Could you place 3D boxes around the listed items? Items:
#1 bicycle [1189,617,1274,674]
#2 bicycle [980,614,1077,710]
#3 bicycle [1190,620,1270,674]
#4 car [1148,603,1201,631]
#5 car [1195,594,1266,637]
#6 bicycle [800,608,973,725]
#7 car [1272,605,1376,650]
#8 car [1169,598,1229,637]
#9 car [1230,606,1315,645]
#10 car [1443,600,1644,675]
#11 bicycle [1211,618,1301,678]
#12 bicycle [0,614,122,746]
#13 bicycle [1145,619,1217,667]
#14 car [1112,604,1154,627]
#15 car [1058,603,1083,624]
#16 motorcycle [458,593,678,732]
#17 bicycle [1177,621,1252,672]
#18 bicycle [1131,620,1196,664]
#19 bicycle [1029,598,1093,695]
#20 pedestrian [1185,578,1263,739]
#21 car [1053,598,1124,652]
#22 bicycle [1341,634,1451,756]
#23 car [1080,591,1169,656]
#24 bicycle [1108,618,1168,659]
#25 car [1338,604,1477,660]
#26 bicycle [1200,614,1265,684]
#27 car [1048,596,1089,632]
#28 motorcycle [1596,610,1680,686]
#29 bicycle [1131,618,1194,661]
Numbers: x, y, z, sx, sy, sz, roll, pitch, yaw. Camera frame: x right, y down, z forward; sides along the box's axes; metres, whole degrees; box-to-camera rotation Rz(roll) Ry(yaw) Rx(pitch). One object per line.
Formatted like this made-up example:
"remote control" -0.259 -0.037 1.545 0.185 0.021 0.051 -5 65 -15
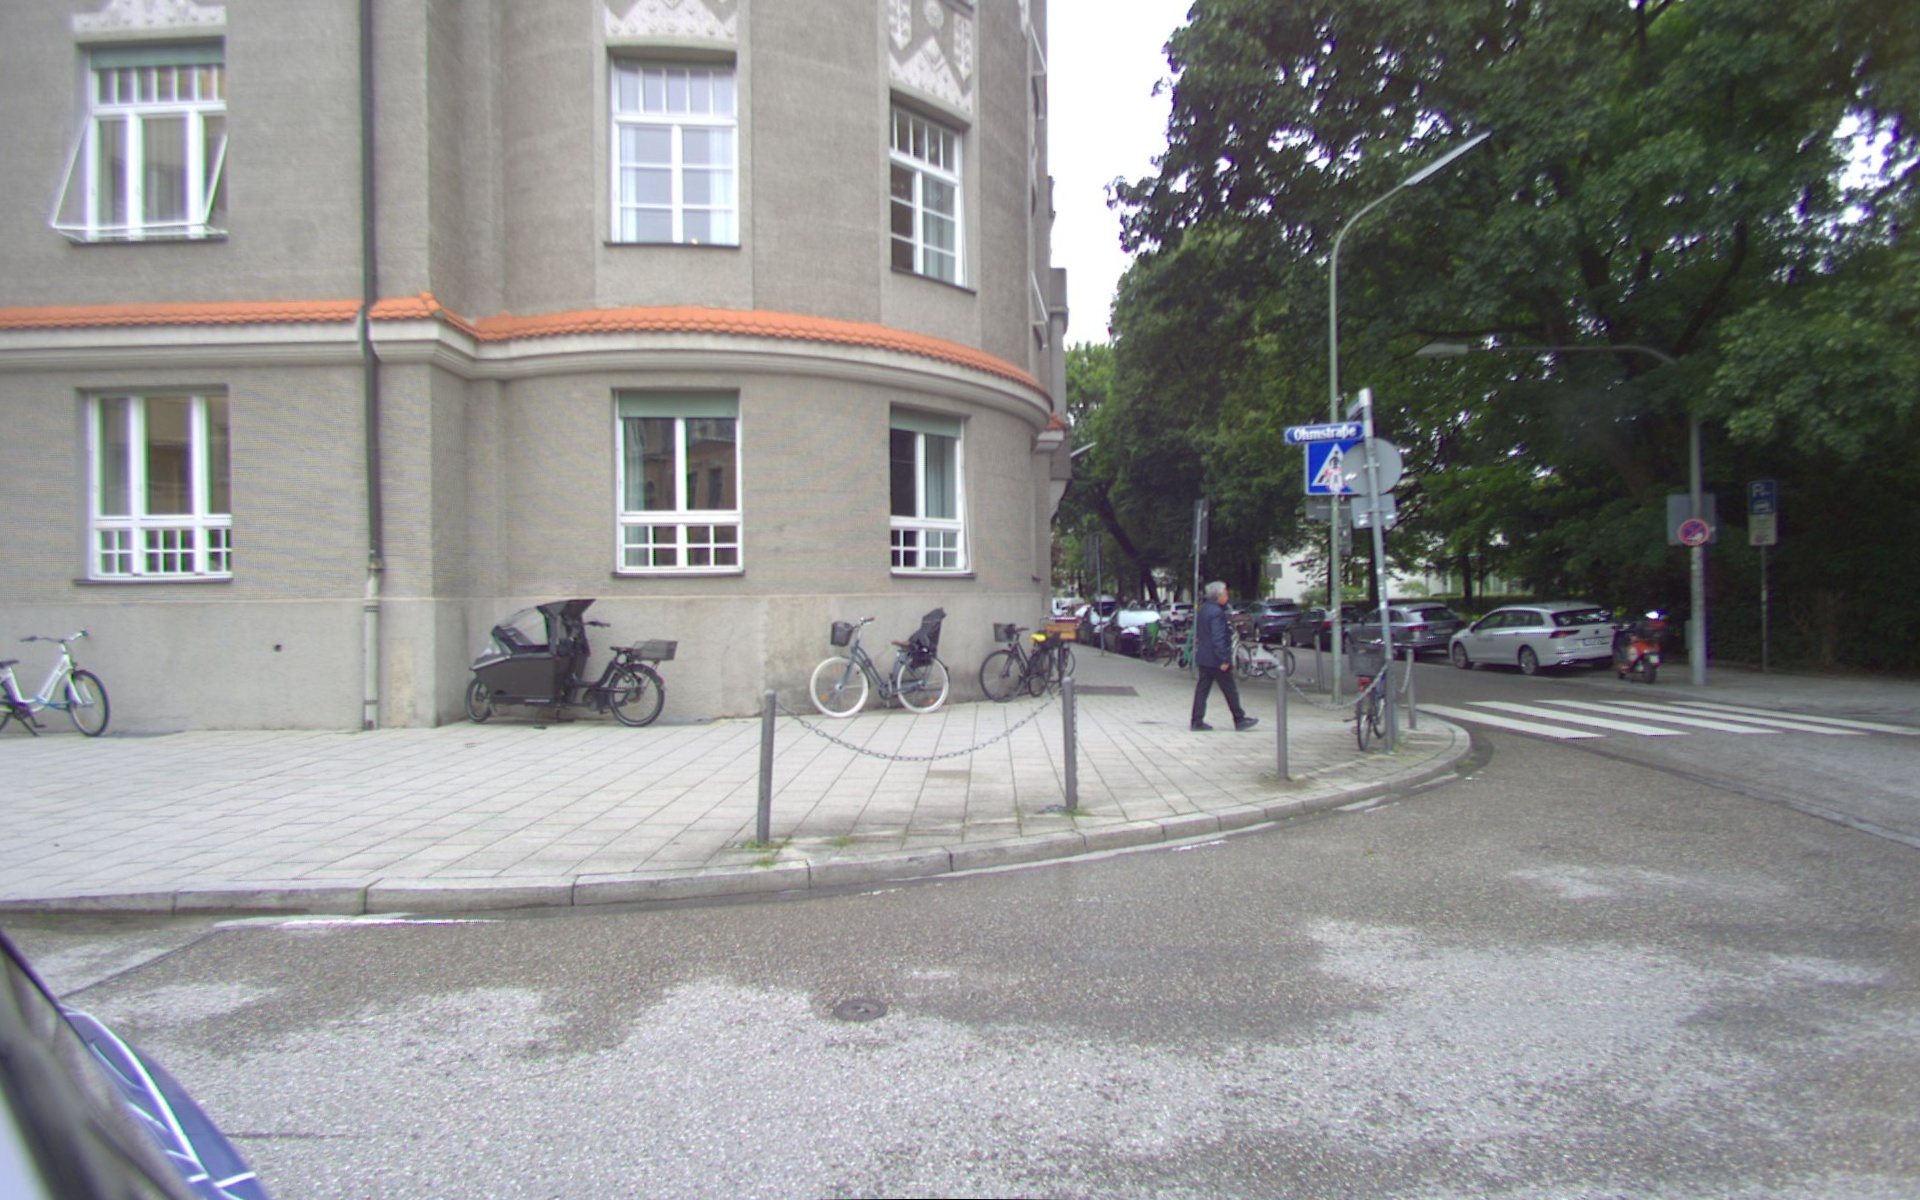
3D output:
"bicycle" 5.629 0.942 21.018 1.670 1.156 0.463 -1 0 18
"bicycle" 0.977 0.813 13.948 0.562 1.165 1.908 3 2 28
"bicycle" 5.948 1.022 22.264 1.670 1.156 0.509 -1 0 18
"car" 11.734 0.956 55.596 1.751 1.443 4.518 0 -1 -2
"car" 12.001 0.676 45.207 1.751 1.832 4.519 -1 -1 -2
"bicycle" -0.856 0.738 11.974 1.893 1.265 0.740 -1 0 -29
"car" 12.349 0.929 34.660 1.751 1.443 4.518 0 -1 -2
"car" 11.890 0.870 50.632 1.751 1.849 4.518 0 -1 -2
"car" 12.211 0.988 39.804 1.751 1.443 4.518 0 -1 -2
"car" 12.568 0.771 22.159 1.601 1.460 4.438 -1 -1 -3
"bicycle" 5.892 0.956 20.189 1.694 1.156 0.509 -1 0 18
"bicycle" -10.062 0.842 10.824 1.651 1.359 0.621 -1 0 -2
"bicycle" 5.423 1.049 24.820 1.670 1.156 0.509 -1 0 18
"car" 11.148 1.015 65.450 1.751 1.443 4.518 0 -1 -2
"car" 10.869 1.345 99.661 1.973 1.966 4.659 -1 0 1
"motorcycle" -4.255 0.663 11.085 2.117 1.451 0.738 -1 0 1
"bicycle" 5.993 1.082 23.847 1.670 1.156 0.509 -1 0 18
"bicycle" 5.525 1.131 27.488 1.670 1.156 0.509 -1 0 18
"bicycle" 1.613 0.687 15.887 0.731 1.424 1.918 -1 0 14
"pedestrian" 2.854 0.606 10.906 0.721 1.654 0.807 -1 0 20
"car" 4.892 0.903 39.107 1.971 1.966 4.663 -1 0 -2
"bicycle" 4.361 0.890 10.048 0.511 1.018 1.982 -1 0 38
"car" 5.280 0.710 33.189 1.971 1.966 4.663 -1 0 -2
"bicycle" 5.165 1.105 29.378 1.670 1.156 0.509 -1 0 18
"car" 12.539 0.882 28.677 1.751 1.443 4.518 0 -1 -2
"bicycle" 4.878 0.851 18.052 0.511 1.156 1.663 -1 0 38
"car" 6.316 0.775 59.392 1.973 1.966 4.659 -1 0 1
"motorcycle" 11.851 0.820 17.756 0.855 1.192 1.988 -5 -2 26
"bicycle" 5.629 1.088 28.126 1.670 1.156 0.509 -1 0 18
